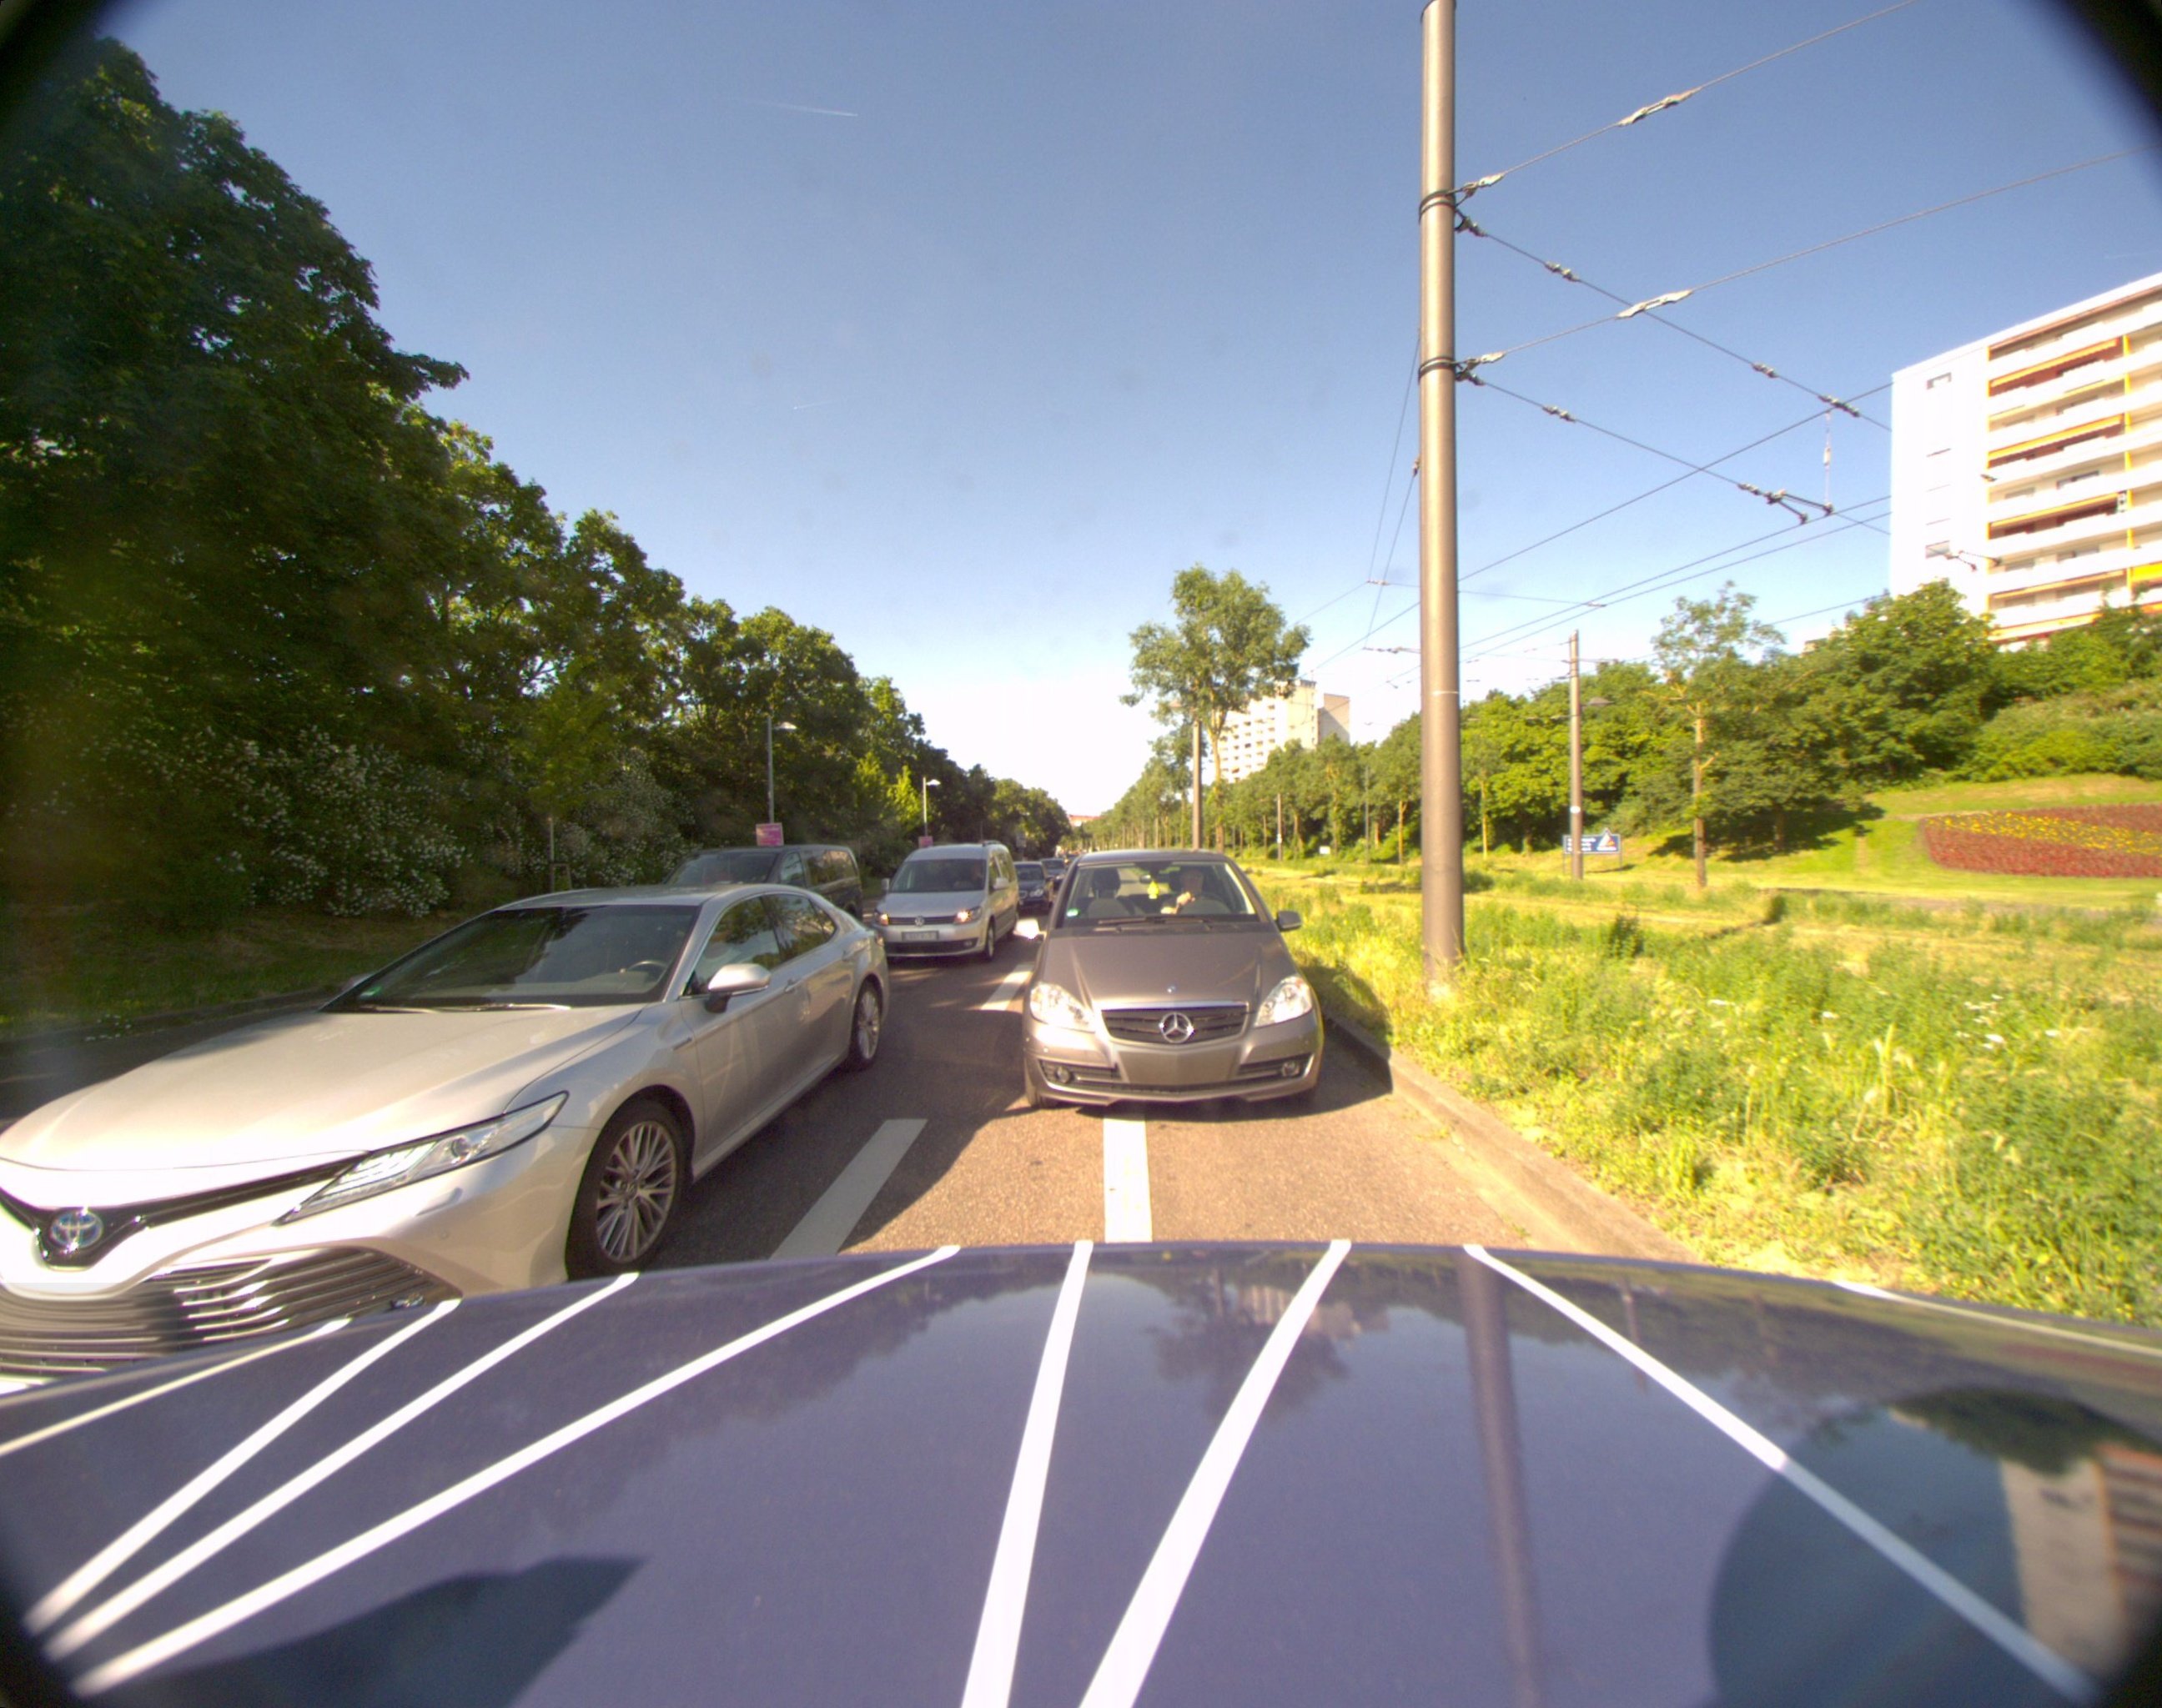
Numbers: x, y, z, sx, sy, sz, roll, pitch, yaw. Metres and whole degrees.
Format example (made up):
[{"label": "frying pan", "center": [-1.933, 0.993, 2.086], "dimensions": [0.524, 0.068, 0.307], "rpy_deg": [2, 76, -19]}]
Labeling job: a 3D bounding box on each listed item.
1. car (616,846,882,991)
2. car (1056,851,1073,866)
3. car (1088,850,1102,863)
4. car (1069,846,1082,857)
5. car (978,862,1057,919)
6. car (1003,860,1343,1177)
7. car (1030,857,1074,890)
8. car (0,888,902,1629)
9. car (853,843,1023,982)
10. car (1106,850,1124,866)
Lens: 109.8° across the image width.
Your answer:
[{"label": "car", "center": [-5.028, 0.831, 12.541], "dimensions": [1.998, 1.882, 5.148], "rpy_deg": [-1, 0, 1]}, {"label": "car", "center": [-1.824, 0.444, 85.736], "dimensions": [1.777, 1.597, 4.384], "rpy_deg": [-1, 0, 1]}, {"label": "car", "center": [1.810, 0.322, 101.456], "dimensions": [1.777, 1.597, 4.384], "rpy_deg": [-1, 0, 1]}, {"label": "car", "center": [-0.775, -0.387, 111.894], "dimensions": [1.777, 1.597, 4.384], "rpy_deg": [-1, 0, 1]}, {"label": "car", "center": [-1.712, 0.956, 21.644], "dimensions": [1.776, 1.395, 4.067], "rpy_deg": [-1, 0, 2]}, {"label": "car", "center": [0.516, 0.893, 6.203], "dimensions": [1.777, 1.597, 4.384], "rpy_deg": [-1, 0, 1]}, {"label": "car", "center": [-1.320, 0.865, 35.920], "dimensions": [1.776, 1.395, 4.067], "rpy_deg": [-1, 0, 2]}, {"label": "car", "center": [-2.645, 1.043, 4.119], "dimensions": [2.069, 1.451, 4.749], "rpy_deg": [-1, 0, 2]}, {"label": "car", "center": [-2.148, 0.791, 12.771], "dimensions": [1.822, 1.893, 4.622], "rpy_deg": [-1, 0, 2]}, {"label": "car", "center": [3.589, 0.399, 80.615], "dimensions": [1.777, 1.597, 4.384], "rpy_deg": [-1, 0, 1]}]
